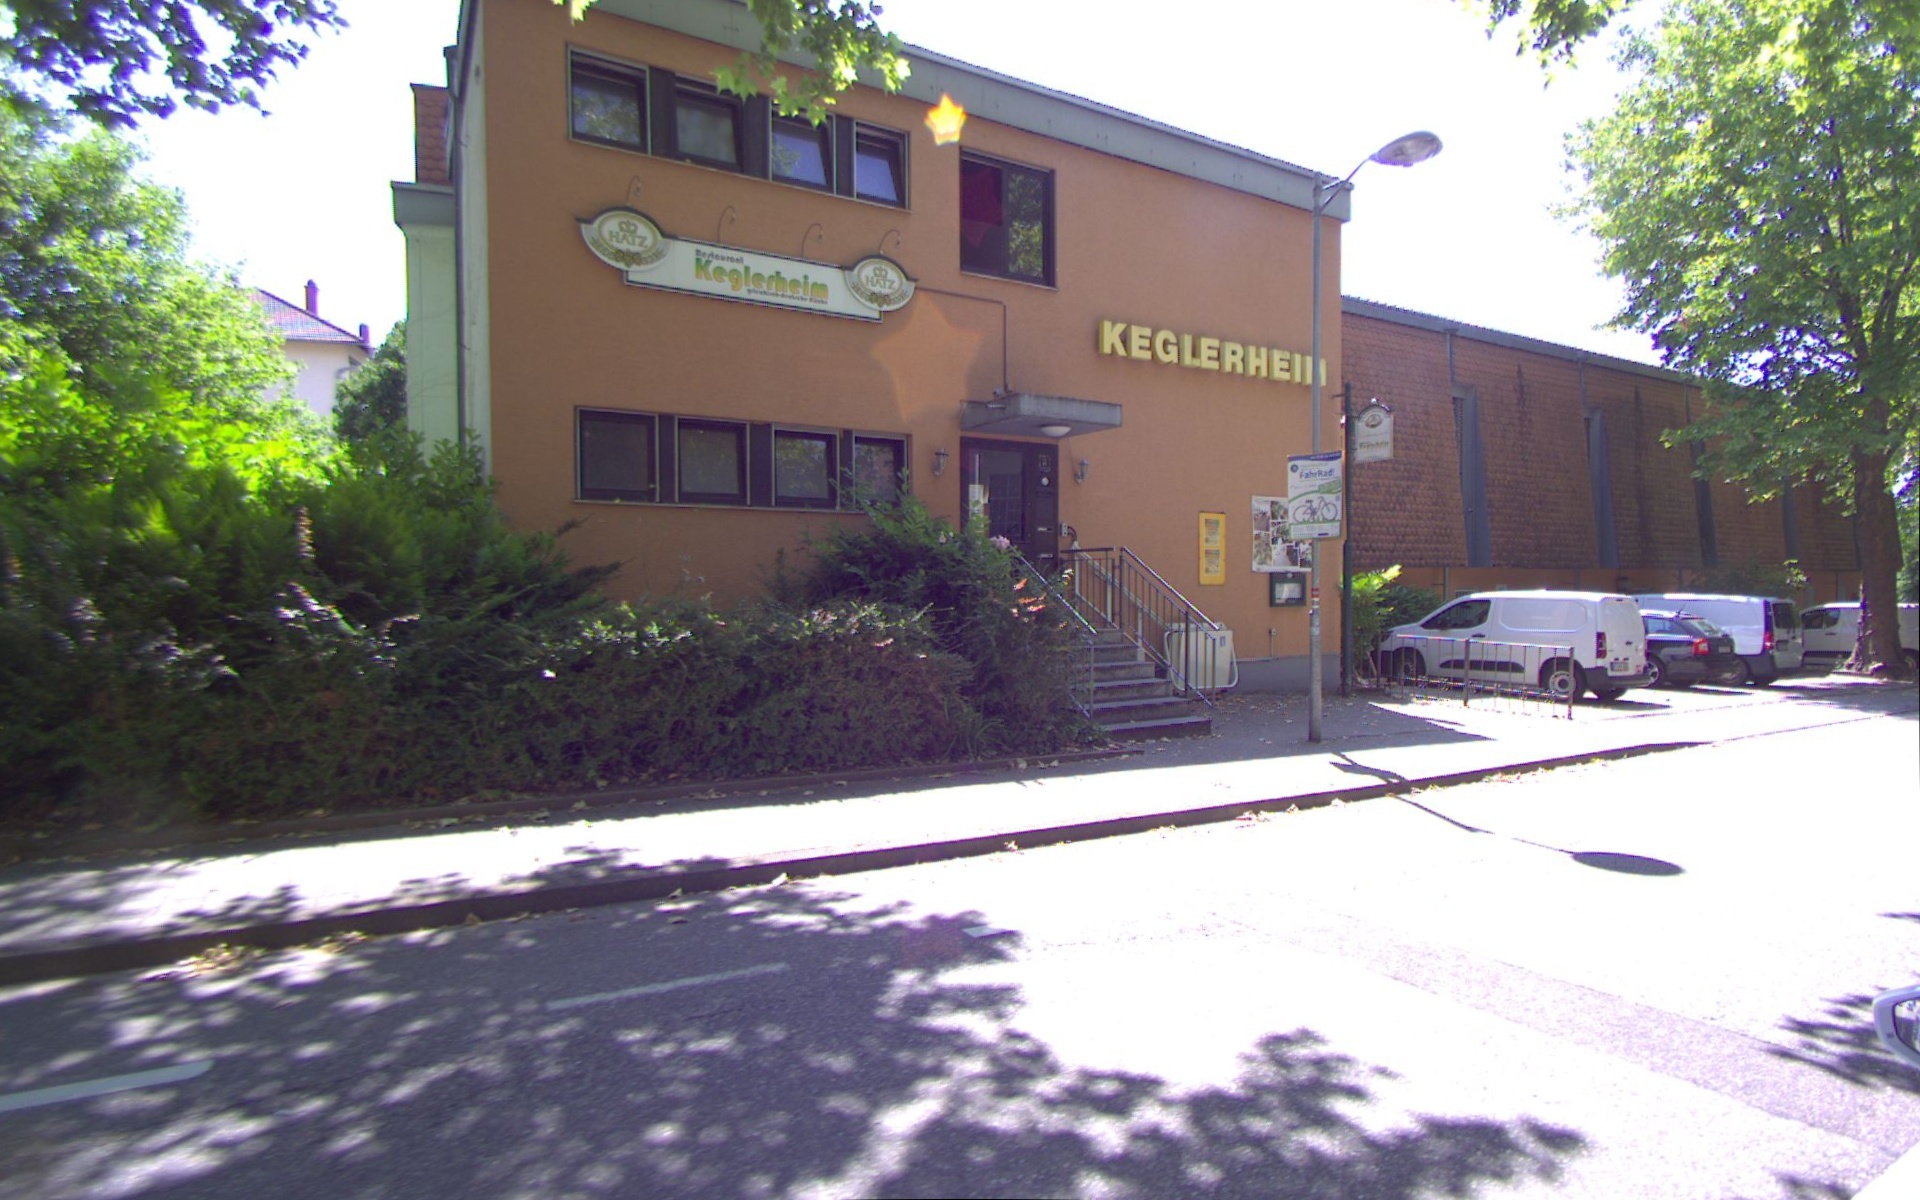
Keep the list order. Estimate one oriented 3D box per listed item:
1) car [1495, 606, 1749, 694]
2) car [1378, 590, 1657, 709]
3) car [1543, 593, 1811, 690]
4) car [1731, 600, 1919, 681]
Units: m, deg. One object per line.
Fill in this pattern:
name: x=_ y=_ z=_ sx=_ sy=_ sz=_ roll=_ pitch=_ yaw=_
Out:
car: x=13.515 y=0.945 z=20.718 sx=1.848 sy=1.535 sz=3.963 roll=1 pitch=1 yaw=-33
car: x=9.854 y=0.781 z=18.034 sx=1.848 sy=1.817 sz=3.963 roll=1 pitch=1 yaw=-33
car: x=15.590 y=0.820 z=22.093 sx=1.883 sy=1.828 sz=4.396 roll=1 pitch=1 yaw=-33
car: x=22.713 y=0.981 z=25.893 sx=1.883 sy=1.828 sz=4.103 roll=1 pitch=1 yaw=-33
